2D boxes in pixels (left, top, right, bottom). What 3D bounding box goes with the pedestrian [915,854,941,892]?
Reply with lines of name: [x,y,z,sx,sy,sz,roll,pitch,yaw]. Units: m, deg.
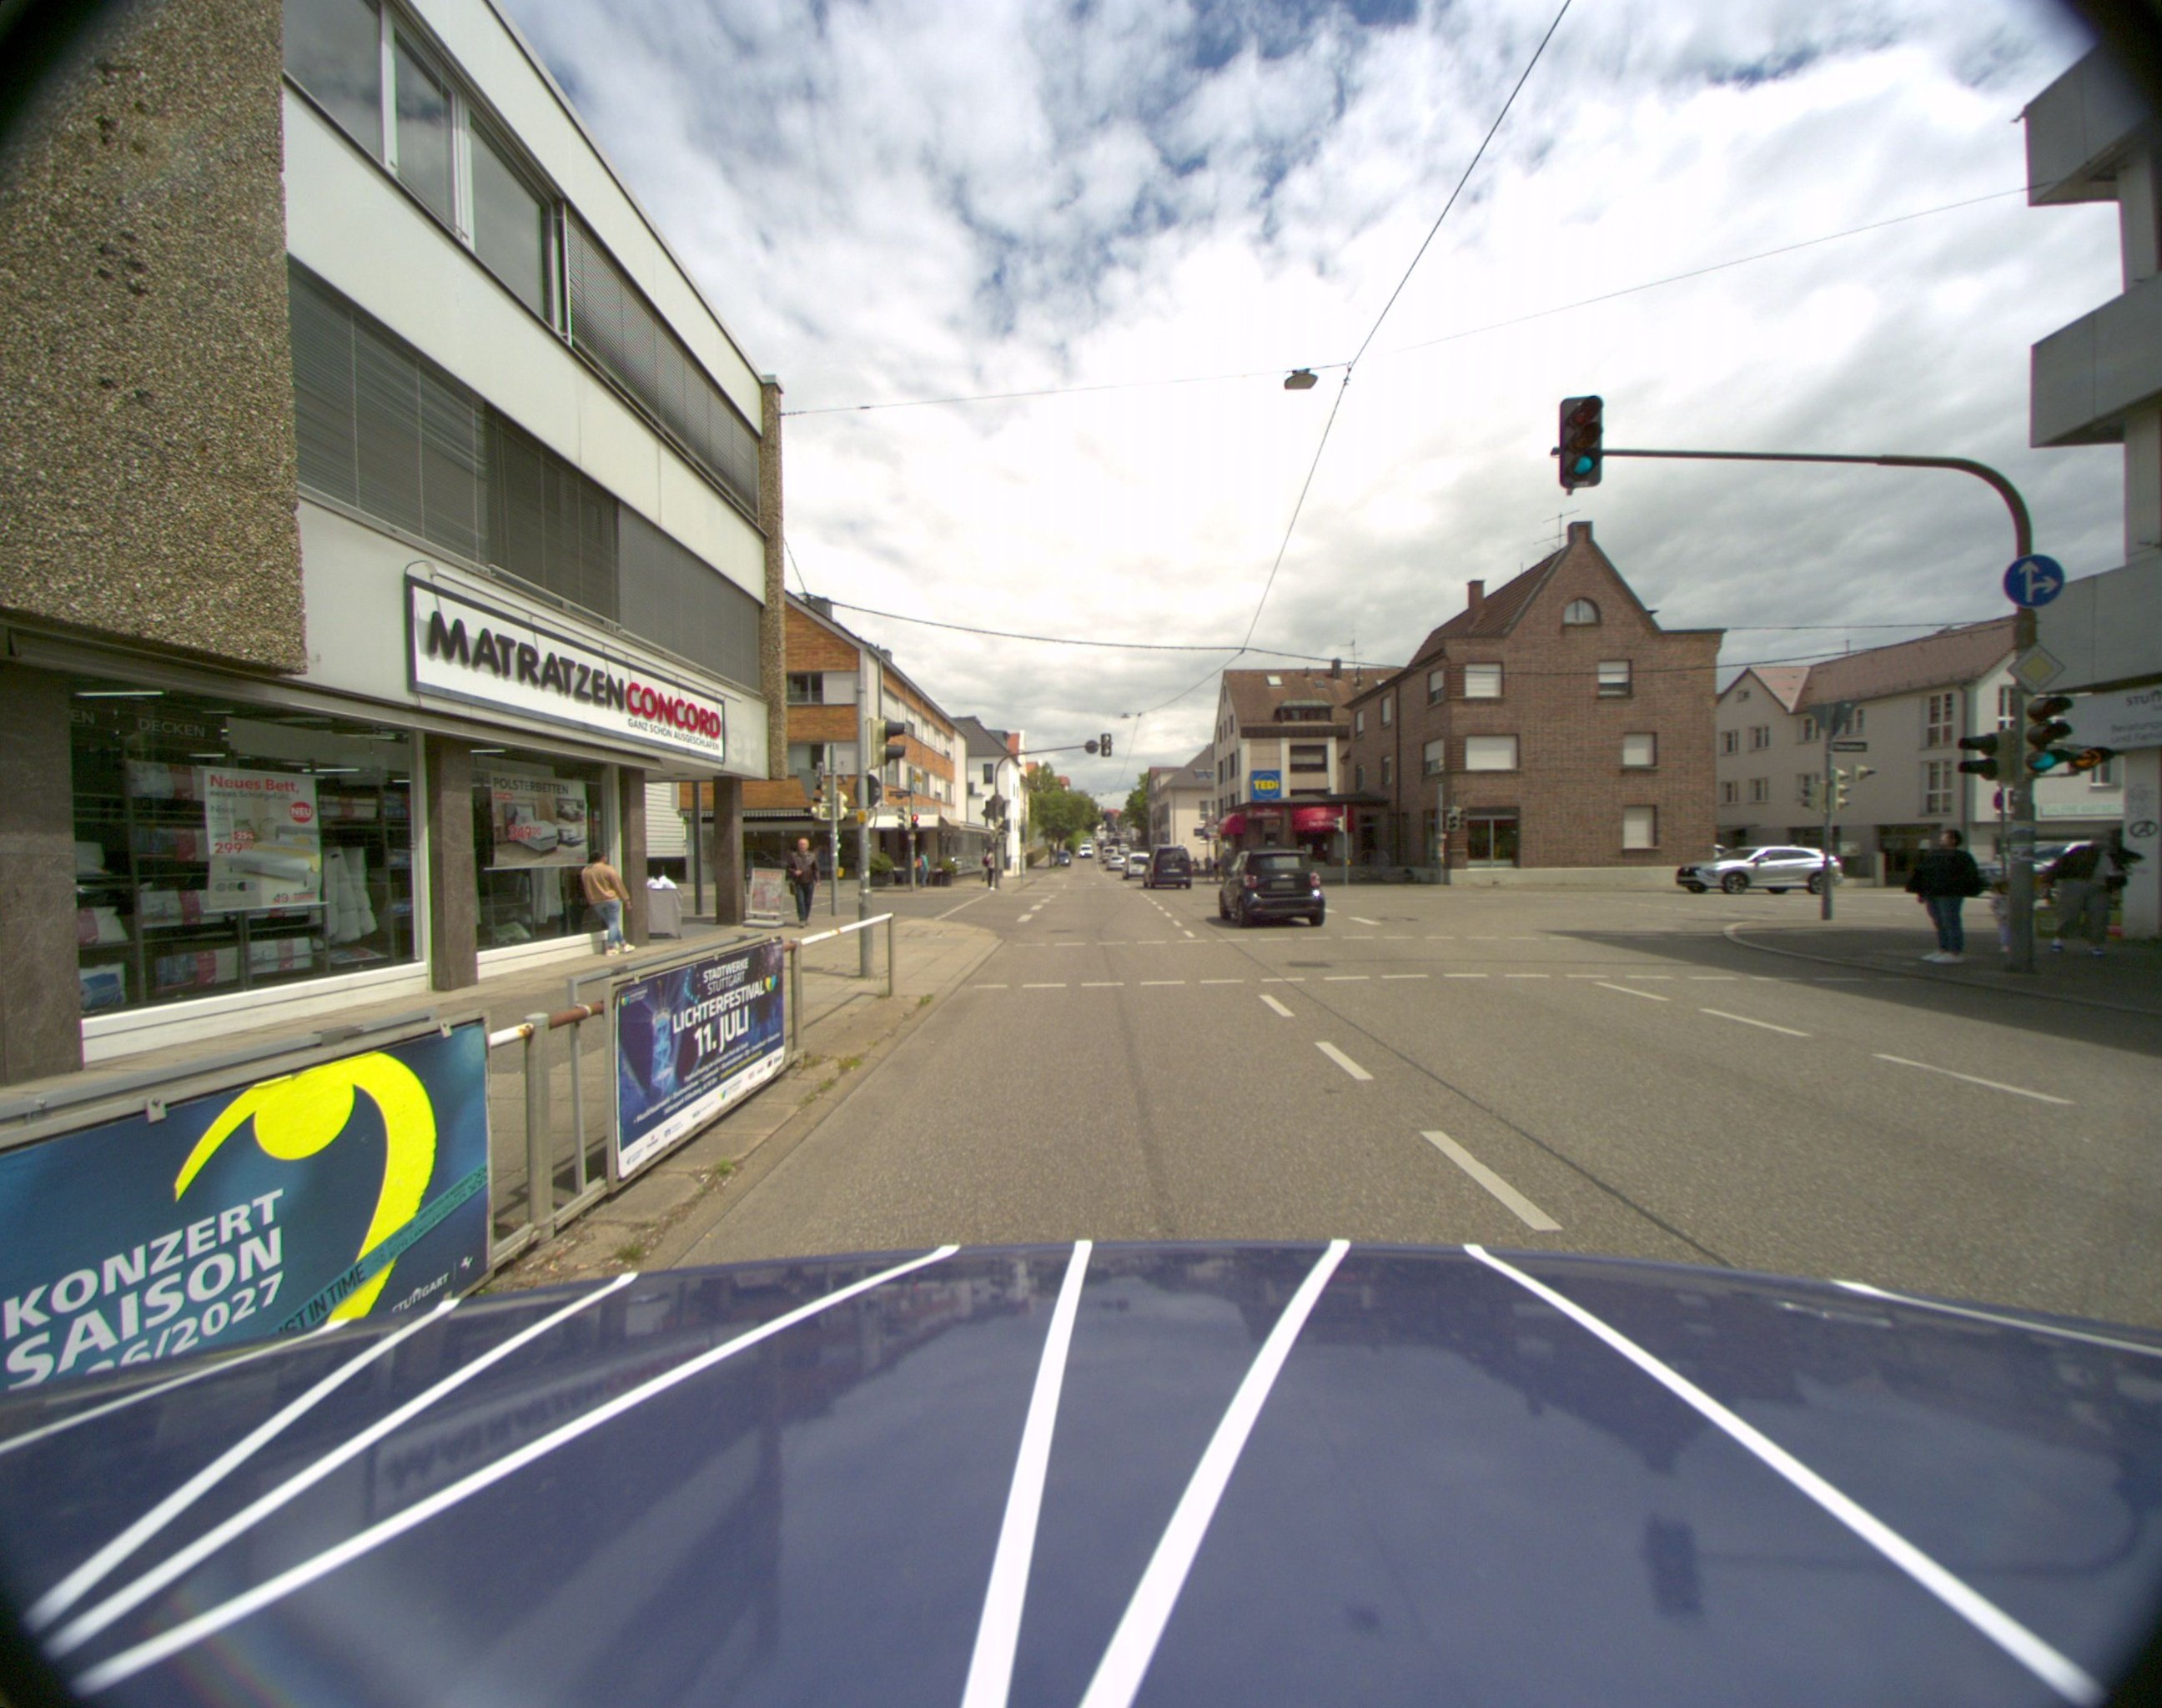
pedestrian: [-6.132,0.750,30.438,0.820,1.517,0.778,-1,1,-30]

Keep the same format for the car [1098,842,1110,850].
car: [3.946,-1.383,130.859,1.858,1.414,4.192,0,0,-1]

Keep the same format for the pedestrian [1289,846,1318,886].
pedestrian: [9.573,0.502,32.719,0.908,1.713,0.849,-1,1,-41]

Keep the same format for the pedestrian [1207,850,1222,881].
pedestrian: [7.302,0.619,41.514,0.779,1.685,0.796,0,1,7]

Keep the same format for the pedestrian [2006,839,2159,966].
pedestrian: [12.800,0.596,9.745,0.820,1.546,0.846,-2,1,7]

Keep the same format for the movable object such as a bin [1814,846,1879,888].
movable object such as a bin: [31.547,0.526,31.344,1.519,1.615,1.145,-2,1,4]

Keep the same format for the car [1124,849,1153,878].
car: [3.922,0.649,52.238,1.819,1.919,4.112,0,0,1]

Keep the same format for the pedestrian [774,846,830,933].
pedestrian: [-5.422,0.670,14.809,0.797,1.661,0.807,0,1,0]

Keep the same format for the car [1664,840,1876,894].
car: [23.353,0.445,25.931,5.254,1.758,2.001,0,0,4]

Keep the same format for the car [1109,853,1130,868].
car: [3.791,0.638,74.946,1.757,1.478,3.970,0,0,-1]

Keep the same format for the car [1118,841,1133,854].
car: [6.666,-0.987,114.422,2.110,1.778,4.529,-1,0,1]

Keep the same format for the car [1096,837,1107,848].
car: [3.915,-2.167,144.950,1.858,1.957,4.192,0,0,-1]

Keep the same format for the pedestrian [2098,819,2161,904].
pedestrian: [21.382,0.136,15.237,0.845,1.641,0.821,-2,1,0]

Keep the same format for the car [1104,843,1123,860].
car: [3.931,-0.334,93.055,1.982,1.985,5.027,0,0,-1]

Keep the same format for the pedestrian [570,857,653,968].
pedestrian: [-6.577,0.798,10.677,0.681,1.490,0.720,0,1,1]

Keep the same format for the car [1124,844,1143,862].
car: [6.549,-0.146,94.629,2.110,2.109,4.765,-1,0,1]

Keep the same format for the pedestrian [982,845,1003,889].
pedestrian: [-3.751,0.554,32.179,0.581,1.820,0.882,1,1,17]

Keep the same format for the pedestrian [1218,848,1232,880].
pedestrian: [7.856,0.540,41.451,0.683,1.706,0.878,0,1,7]

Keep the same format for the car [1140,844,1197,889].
car: [3.827,0.487,33.943,1.953,1.866,4.876,0,1,0]

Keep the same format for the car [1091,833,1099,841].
car: [3.391,-4.083,182.275,1.998,1.654,4.000,0,0,1]

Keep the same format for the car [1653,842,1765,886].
car: [27.438,0.408,33.359,1.869,1.852,3.702,0,0,1]

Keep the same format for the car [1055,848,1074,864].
car: [-1.851,0.214,85.295,1.998,1.654,4.000,0,0,1]

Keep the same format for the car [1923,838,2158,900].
car: [28.268,0.413,22.512,4.348,1.744,2.000,0,0,1]

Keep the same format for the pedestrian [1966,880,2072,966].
pedestrian: [12.184,0.884,9.890,0.560,1.051,0.662,-2,1,7]

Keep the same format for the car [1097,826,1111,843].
car: [4.811,-4.090,159.612,2.428,3.409,7.636,0,0,-1]

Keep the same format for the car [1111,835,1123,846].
car: [7.044,-2.540,147.513,2.110,2.109,4.765,-1,0,1]

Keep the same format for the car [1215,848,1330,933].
car: [3.919,0.696,15.961,1.681,1.626,2.833,0,0,-1]

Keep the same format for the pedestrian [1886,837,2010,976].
pedestrian: [10.657,0.630,9.367,0.719,1.635,0.682,-2,1,6]

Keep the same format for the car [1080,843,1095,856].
car: [0.930,-0.600,106.242,2.000,1.797,4.764,1,0,-1]
